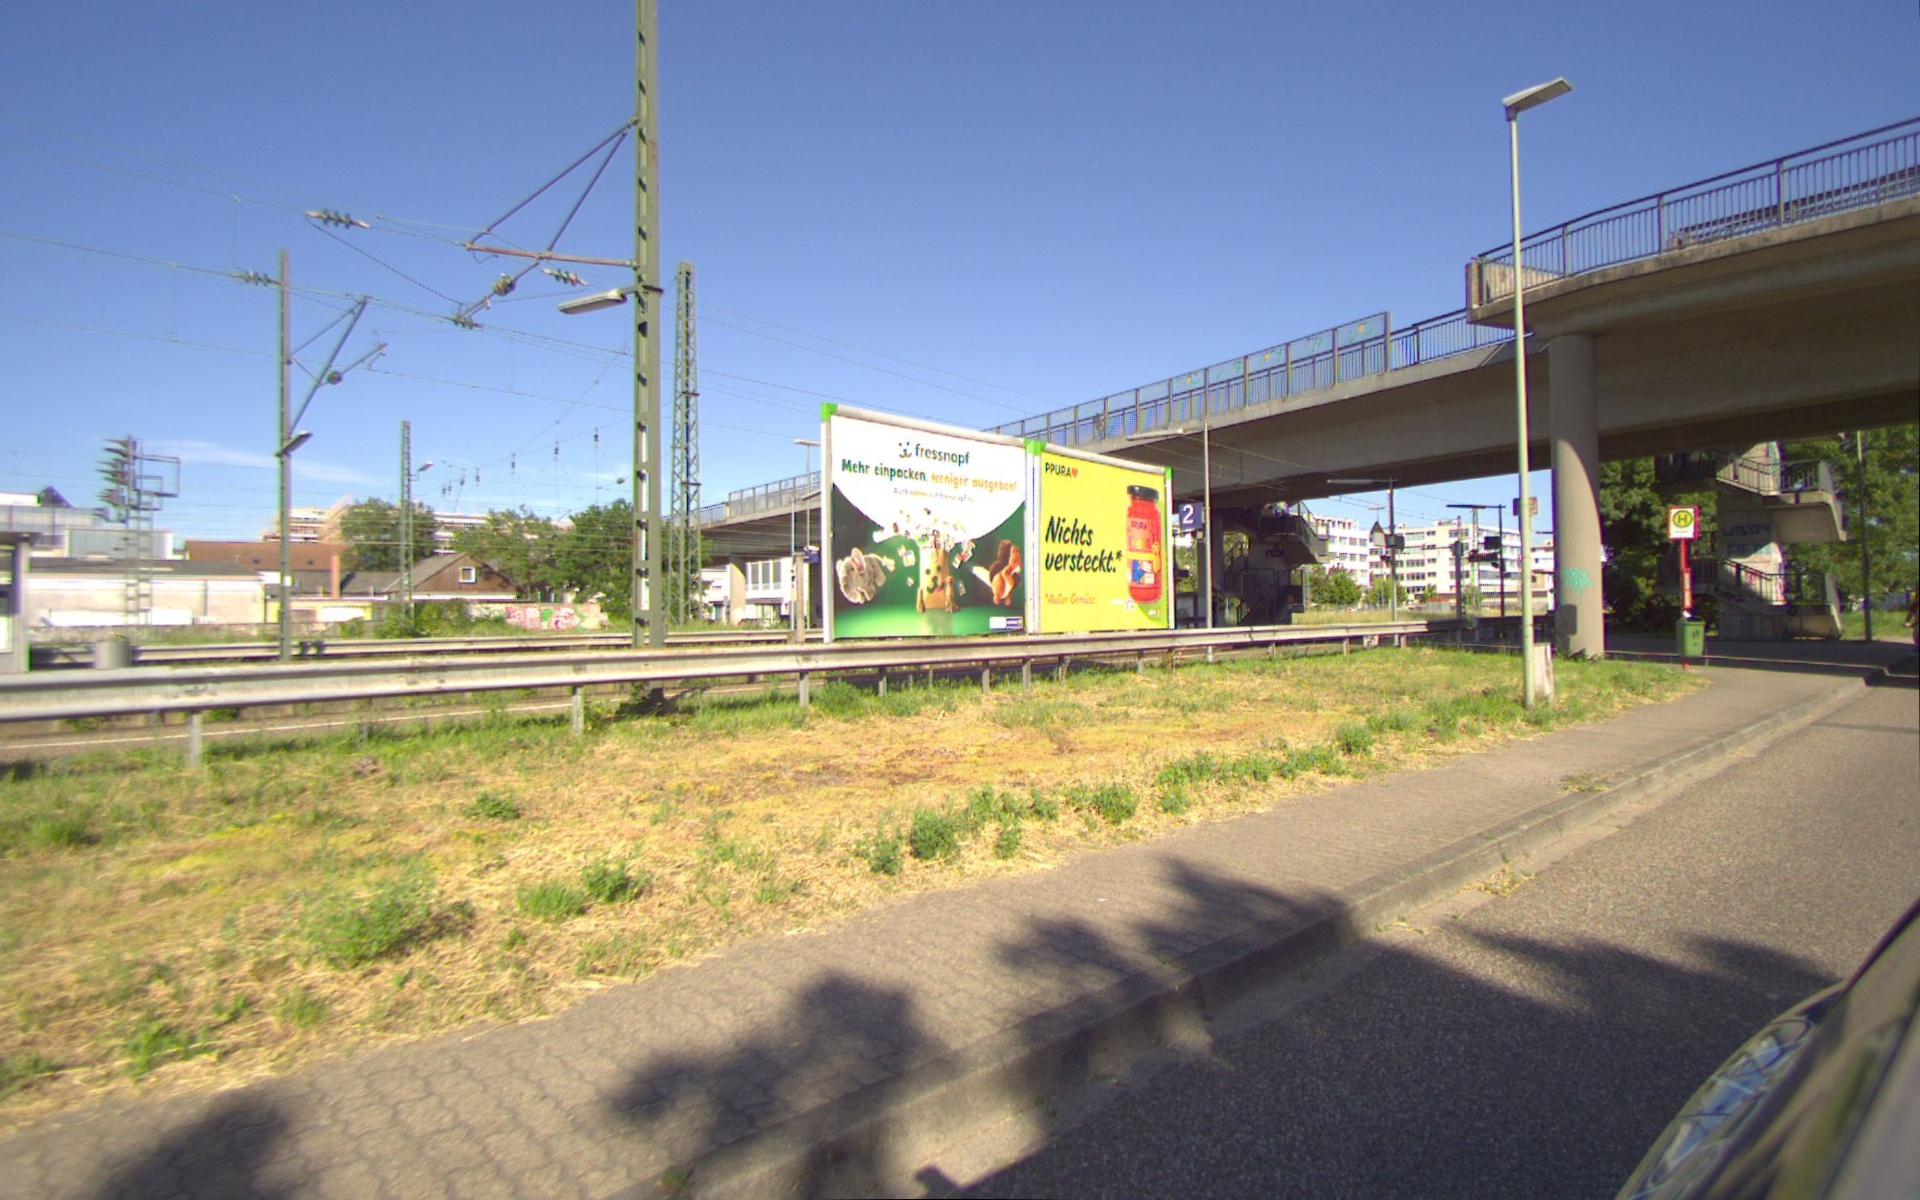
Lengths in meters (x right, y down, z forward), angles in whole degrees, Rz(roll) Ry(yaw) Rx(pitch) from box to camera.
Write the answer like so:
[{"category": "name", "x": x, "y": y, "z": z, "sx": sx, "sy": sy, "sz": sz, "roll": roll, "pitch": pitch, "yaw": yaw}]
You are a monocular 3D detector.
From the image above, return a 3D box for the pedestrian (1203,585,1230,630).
[{"category": "pedestrian", "x": 11.858, "y": 0.352, "z": 46.764, "sx": 0.822, "sy": 2.039, "sz": 0.893, "roll": 0, "pitch": -1, "yaw": -45}]

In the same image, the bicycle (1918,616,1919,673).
[{"category": "bicycle", "x": 19.088, "y": 0.835, "z": 19.493, "sx": 2.154, "sy": 1.065, "sz": 0.841, "roll": 0, "pitch": -1, "yaw": -45}]

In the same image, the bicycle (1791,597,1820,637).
[{"category": "bicycle", "x": 26.156, "y": 0.506, "z": 31.309, "sx": 0.596, "sy": 1.197, "sz": 2.148, "roll": -1, "pitch": 0, "yaw": 42}]
